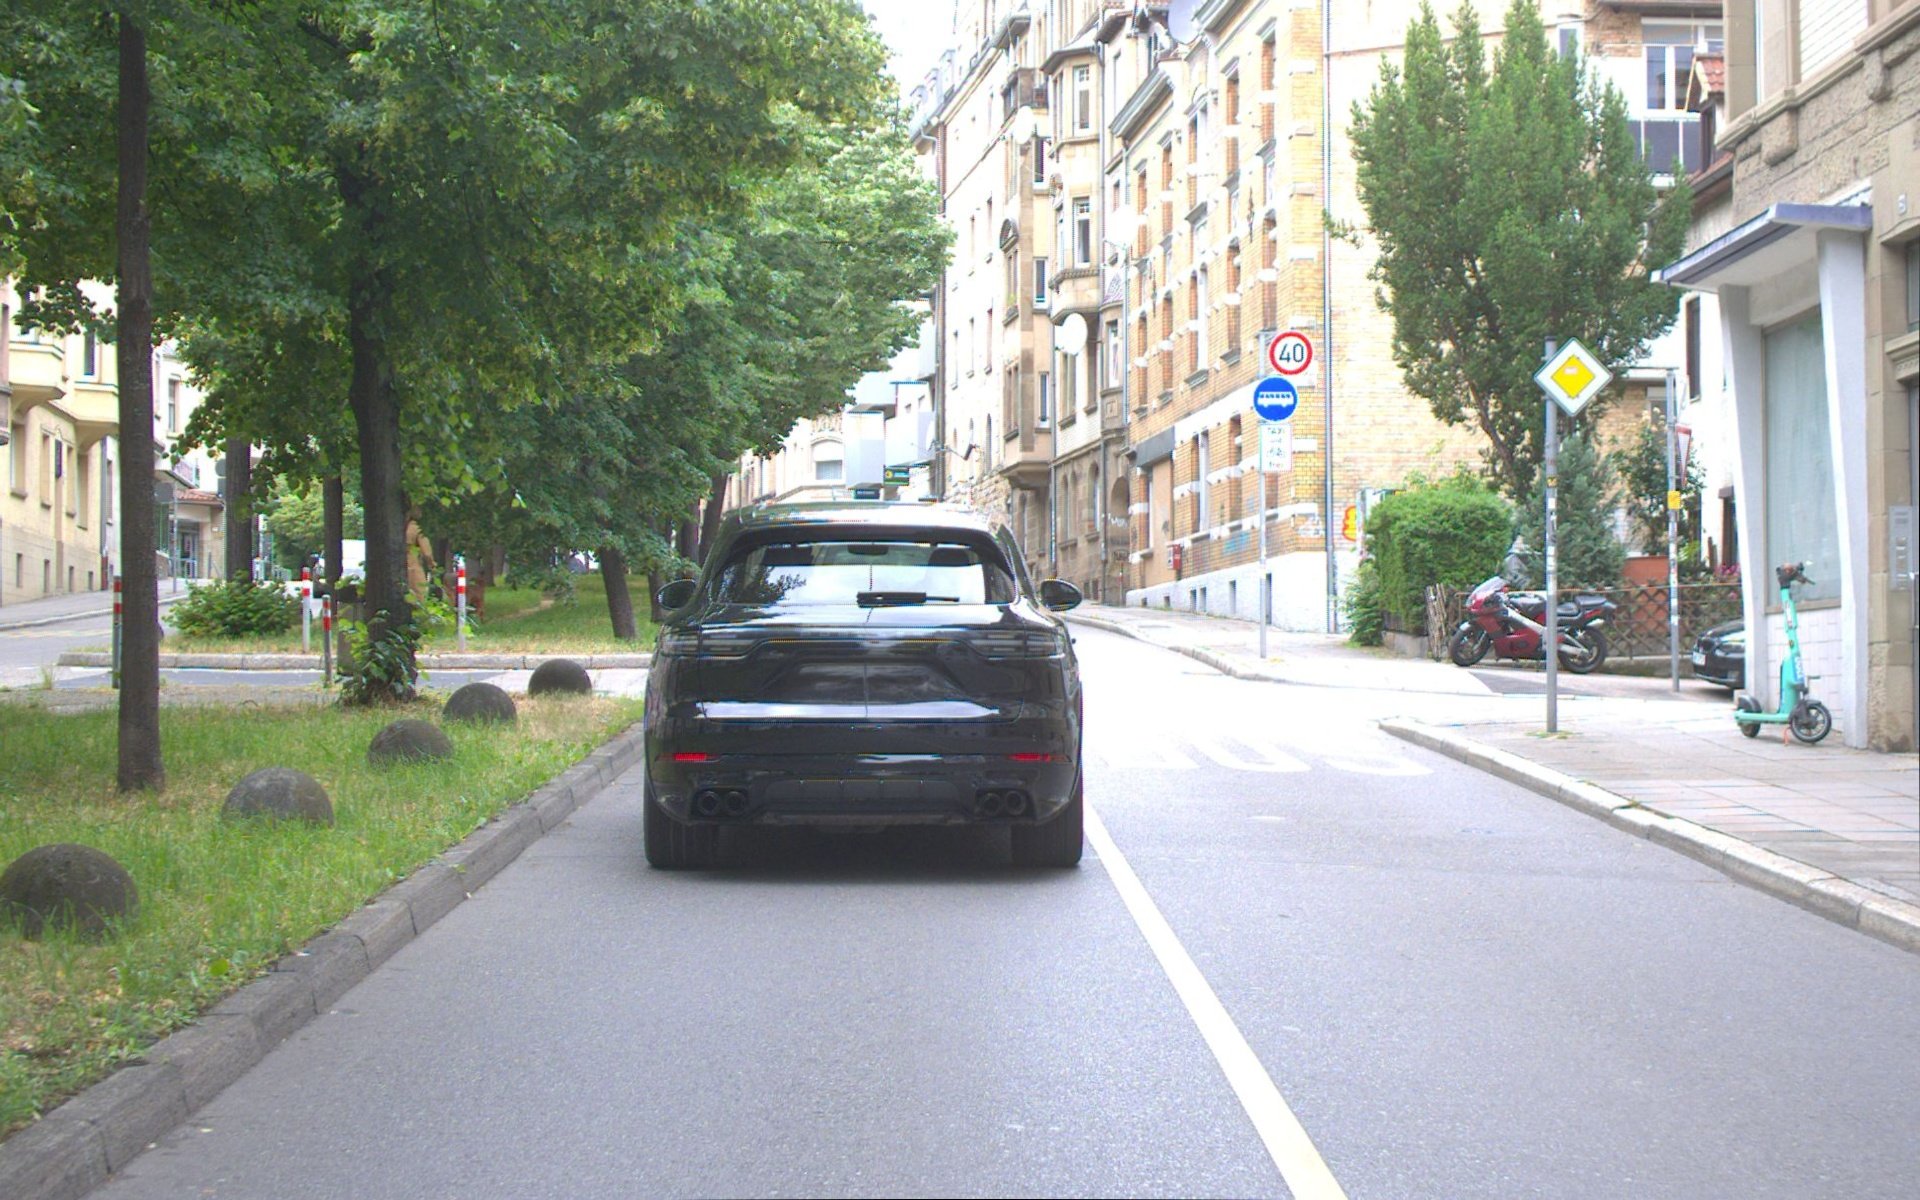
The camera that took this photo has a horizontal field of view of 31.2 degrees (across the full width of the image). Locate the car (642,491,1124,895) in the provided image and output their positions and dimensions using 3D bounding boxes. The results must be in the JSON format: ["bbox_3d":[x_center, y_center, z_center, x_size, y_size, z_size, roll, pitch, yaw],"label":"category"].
[{"bbox_3d":[-0.423,0.349,16.571,1.993,1.660,4.001,2,1,-3],"label":"car"}]

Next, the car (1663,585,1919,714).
[{"bbox_3d":[10.389,0.576,39.592,4.124,1.281,1.783,1,4,-3],"label":"car"}]

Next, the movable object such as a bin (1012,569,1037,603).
[{"bbox_3d":[1.750,-0.377,93.199,0.594,0.901,0.563,2,0,-6],"label":"movable object such as a bin"}]

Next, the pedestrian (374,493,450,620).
[{"bbox_3d":[-7.677,-0.599,48.215,0.833,1.706,1.123,-3,-1,-1],"label":"pedestrian"}]

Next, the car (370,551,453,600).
[{"bbox_3d":[-16.524,-0.755,103.783,1.758,1.377,4.669,-1,2,0],"label":"car"}]

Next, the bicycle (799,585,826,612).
[{"bbox_3d":[-6.545,-0.064,152.702,0.879,1.125,2.980,2,-1,-8],"label":"bicycle"}]

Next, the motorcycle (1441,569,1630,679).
[{"bbox_3d":[7.046,0.287,42.158,2.055,1.263,1.010,2,1,-5],"label":"motorcycle"}]

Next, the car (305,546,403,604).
[{"bbox_3d":[-15.659,-0.664,88.998,1.708,1.377,4.669,-1,2,0],"label":"car"}]

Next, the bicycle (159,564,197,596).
[{"bbox_3d":[-28.074,-0.719,123.396,0.762,1.081,2.037,3,-2,-29],"label":"bicycle"}]

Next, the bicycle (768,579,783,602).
[{"bbox_3d":[-8.783,-0.455,163.655,0.446,1.033,2.249,0,-2,-10],"label":"bicycle"}]

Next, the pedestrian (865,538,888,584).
[{"bbox_3d":[-3.074,-1.440,126.671,0.751,1.687,0.858,0,-1,-6],"label":"pedestrian"}]

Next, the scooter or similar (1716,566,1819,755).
[{"bbox_3d":[5.581,0.406,23.793,0.410,1.206,1.145,-2,4,-1],"label":"scooter or similar"}]
